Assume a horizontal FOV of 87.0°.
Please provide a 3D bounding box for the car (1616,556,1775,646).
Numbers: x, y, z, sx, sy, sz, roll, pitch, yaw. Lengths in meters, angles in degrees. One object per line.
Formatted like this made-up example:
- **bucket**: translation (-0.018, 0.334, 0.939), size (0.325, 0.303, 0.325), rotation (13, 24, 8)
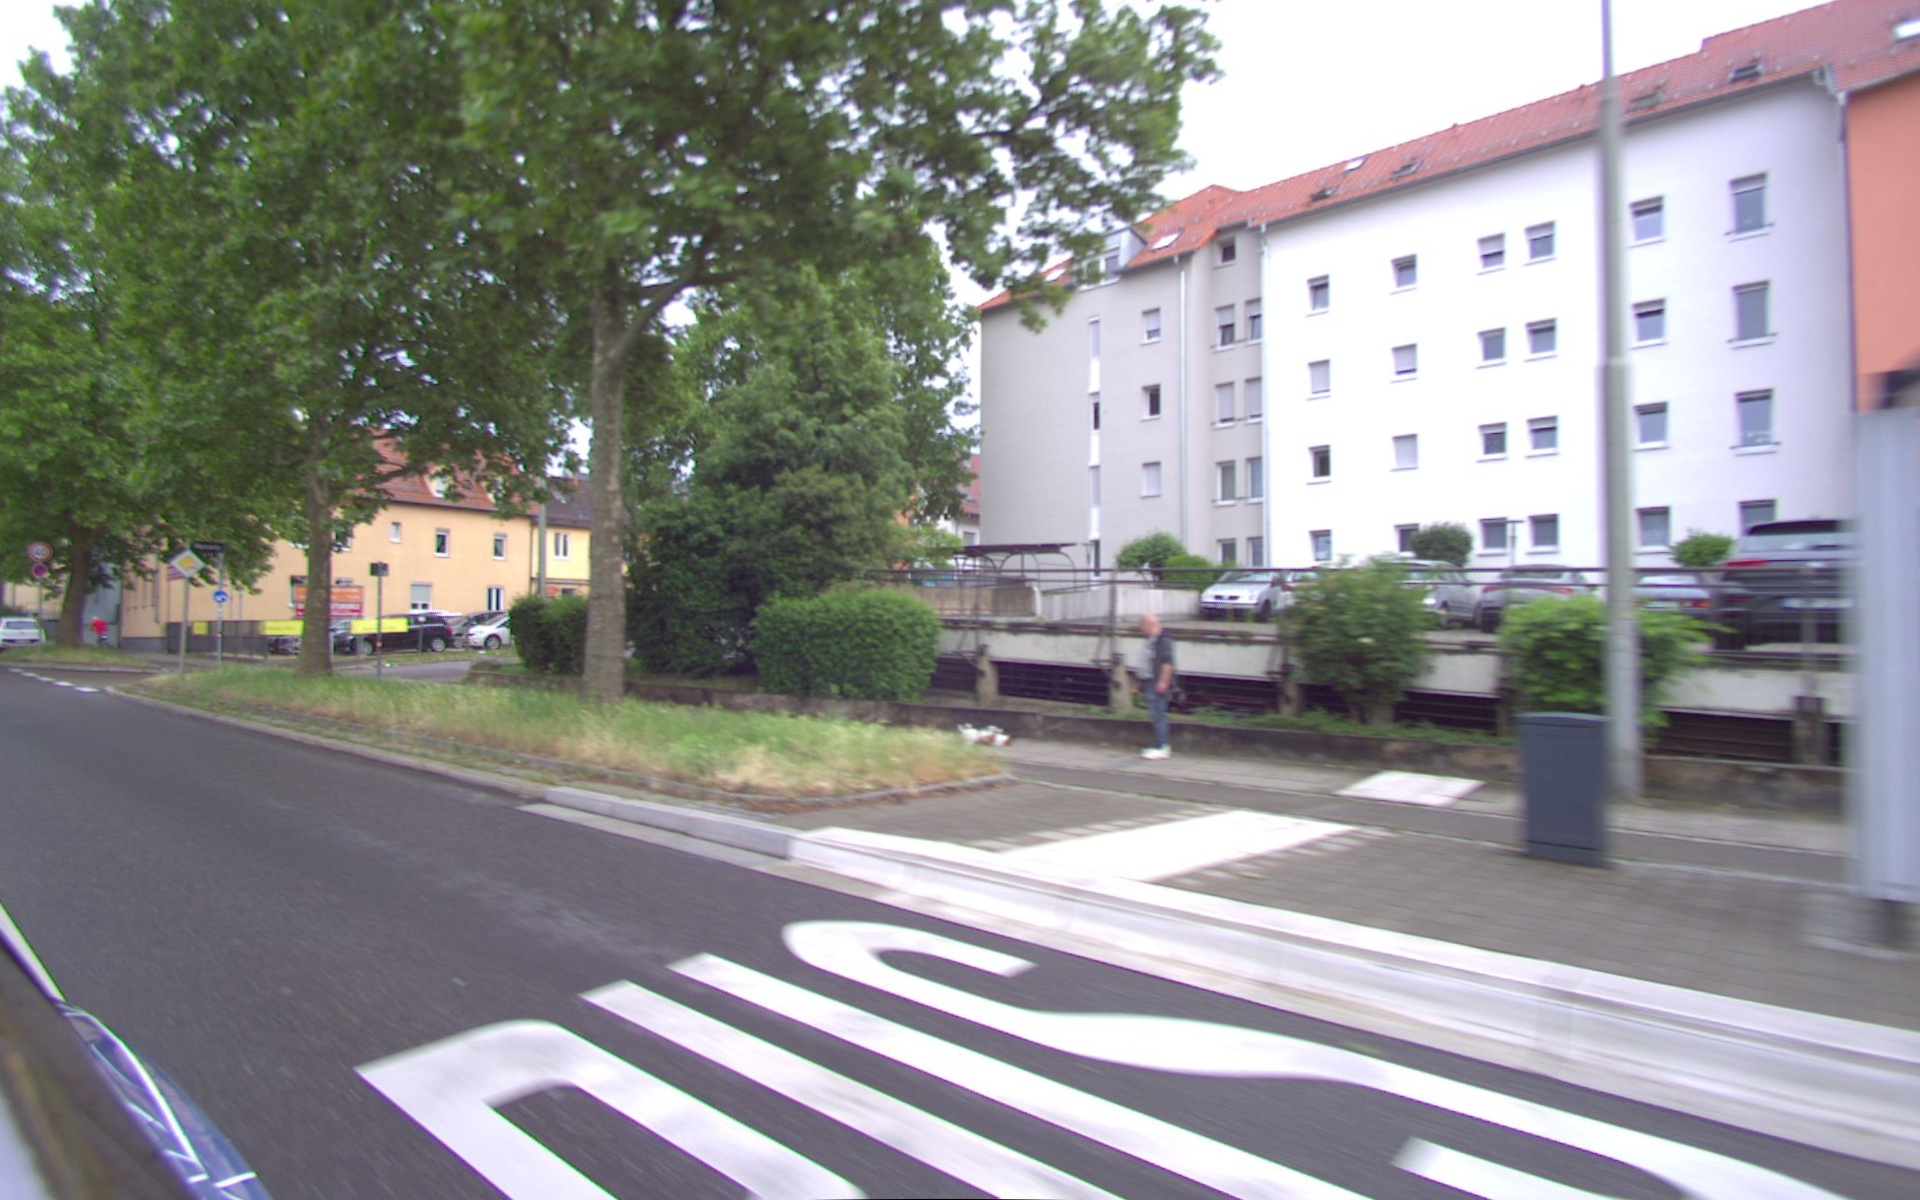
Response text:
- **car**: translation (14.202, 0.002, 19.454), size (2.000, 1.541, 3.943), rotation (1, 1, 43)

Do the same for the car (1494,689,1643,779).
- **car**: translation (13.553, 2.875, 22.443), size (2.065, 1.407, 3.943), rotation (0, 1, 43)

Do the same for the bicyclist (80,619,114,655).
- **bicyclist**: translation (-38.085, 1.612, 44.670), size (0.806, 1.564, 0.835), rotation (0, 0, 3)

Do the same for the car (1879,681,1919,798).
- **car**: translation (18.018, 2.486, 18.290), size (2.000, 1.763, 3.848), rotation (-2, -2, 43)

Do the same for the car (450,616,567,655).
- **car**: translation (-19.292, 1.478, 43.345), size (1.998, 1.508, 4.126), rotation (0, 0, 39)

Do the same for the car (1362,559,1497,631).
- **car**: translation (10.851, -0.131, 23.277), size (1.685, 1.518, 3.943), rotation (1, 1, 43)

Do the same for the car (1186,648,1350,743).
- **car**: translation (5.910, 1.723, 19.207), size (1.612, 1.486, 3.669), rotation (-2, -2, 41)

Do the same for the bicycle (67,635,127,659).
- **bicycle**: translation (-38.126, 2.082, 44.706), size (2.236, 1.003, 0.556), rotation (0, 0, 3)

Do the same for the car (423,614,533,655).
- **car**: translation (-21.330, 1.493, 44.882), size (1.998, 1.665, 3.947), rotation (0, 0, 39)

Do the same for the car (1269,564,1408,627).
- **car**: translation (9.362, -0.114, 24.912), size (1.849, 1.425, 3.943), rotation (1, 1, 43)

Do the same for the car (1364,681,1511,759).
- **car**: translation (11.456, 2.786, 24.178), size (2.065, 1.407, 3.943), rotation (-2, -2, 43)

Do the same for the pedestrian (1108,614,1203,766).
- **pedestrian**: translation (2.229, 0.986, 11.523), size (0.833, 1.623, 0.748), rotation (0, 1, 37)

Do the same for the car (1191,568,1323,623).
- **car**: translation (7.857, -0.135, 26.597), size (1.745, 1.328, 3.943), rotation (1, 1, 43)

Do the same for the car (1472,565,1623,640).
- **car**: translation (12.318, 0.021, 21.116), size (1.905, 1.407, 3.943), rotation (0, 1, 43)

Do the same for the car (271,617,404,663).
- **car**: translation (-25.061, 1.567, 40.839), size (1.980, 1.550, 4.166), rotation (0, 1, 39)

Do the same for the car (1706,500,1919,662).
- **car**: translation (9.522, -0.192, 11.282), size (1.895, 1.509, 3.619), rotation (0, 1, 37)

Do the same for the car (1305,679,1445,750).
- **car**: translation (10.728, 2.872, 26.033), size (2.065, 1.407, 3.943), rotation (-2, -2, 43)

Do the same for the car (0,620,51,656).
- **car**: translation (-42.110, 1.673, 45.119), size (4.349, 1.563, 1.767), rotation (-1, -2, 41)
